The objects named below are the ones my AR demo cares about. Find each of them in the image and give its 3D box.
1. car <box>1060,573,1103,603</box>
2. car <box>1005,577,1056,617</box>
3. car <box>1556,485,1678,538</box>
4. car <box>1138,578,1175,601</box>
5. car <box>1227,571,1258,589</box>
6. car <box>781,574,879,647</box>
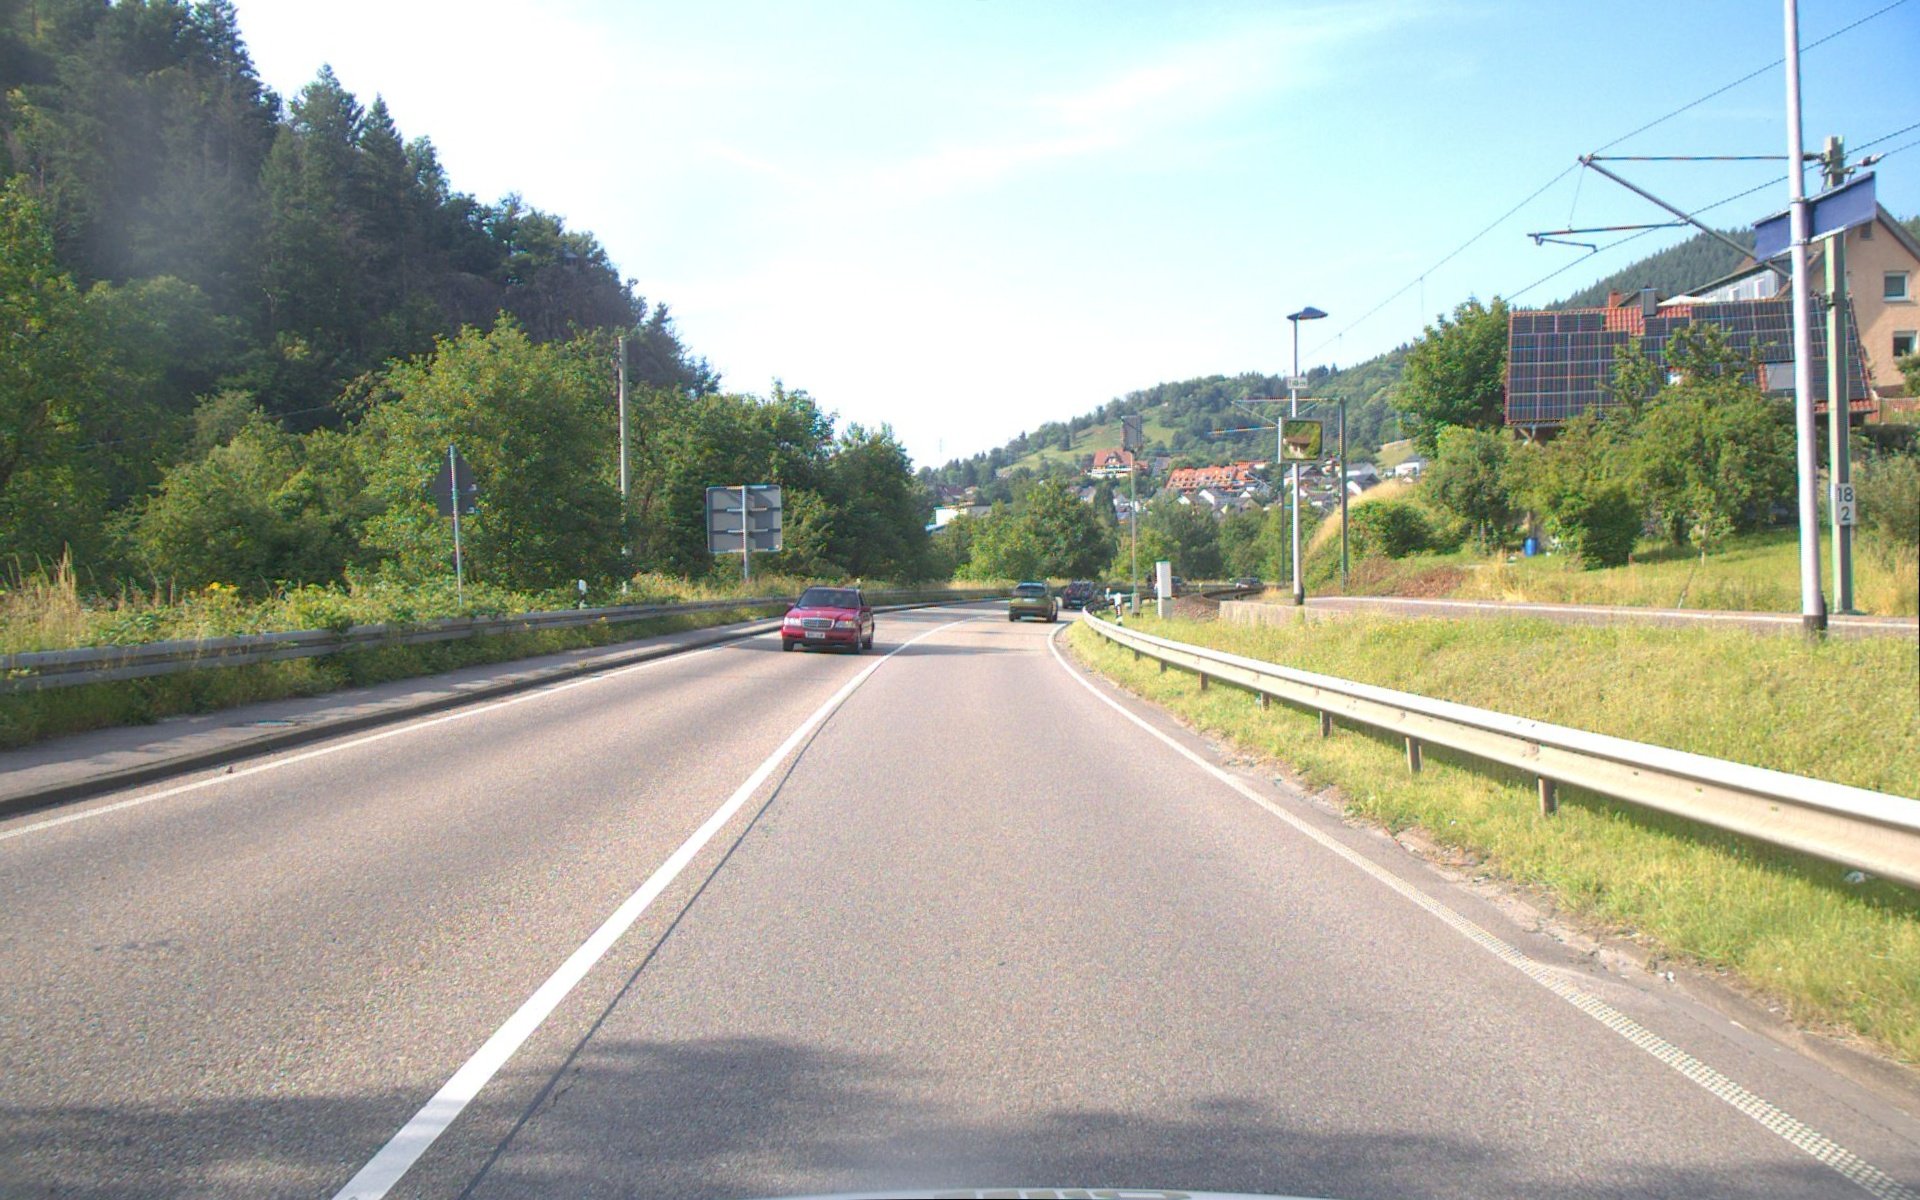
[{"bbox_3d":[6.377,-0.656,86.712,1.801,1.485,3.716,-2,1,10],"label":"car"},{"bbox_3d":[2.798,-0.129,65.345,1.692,1.482,3.413,-2,1,7],"label":"car"},{"bbox_3d":[24.102,-3.218,60.826,3.902,1.713,2.002,-2,1,15],"label":"car"},{"bbox_3d":[13.697,-0.742,115.371,1.769,1.478,3.648,-2,1,20],"label":"car"},{"bbox_3d":[23.681,-1.690,138.409,1.771,1.433,3.773,-2,1,22],"label":"car"},{"bbox_3d":[-2.900,0.190,37.834,1.804,1.495,4.944,2,1,0],"label":"car"}]
